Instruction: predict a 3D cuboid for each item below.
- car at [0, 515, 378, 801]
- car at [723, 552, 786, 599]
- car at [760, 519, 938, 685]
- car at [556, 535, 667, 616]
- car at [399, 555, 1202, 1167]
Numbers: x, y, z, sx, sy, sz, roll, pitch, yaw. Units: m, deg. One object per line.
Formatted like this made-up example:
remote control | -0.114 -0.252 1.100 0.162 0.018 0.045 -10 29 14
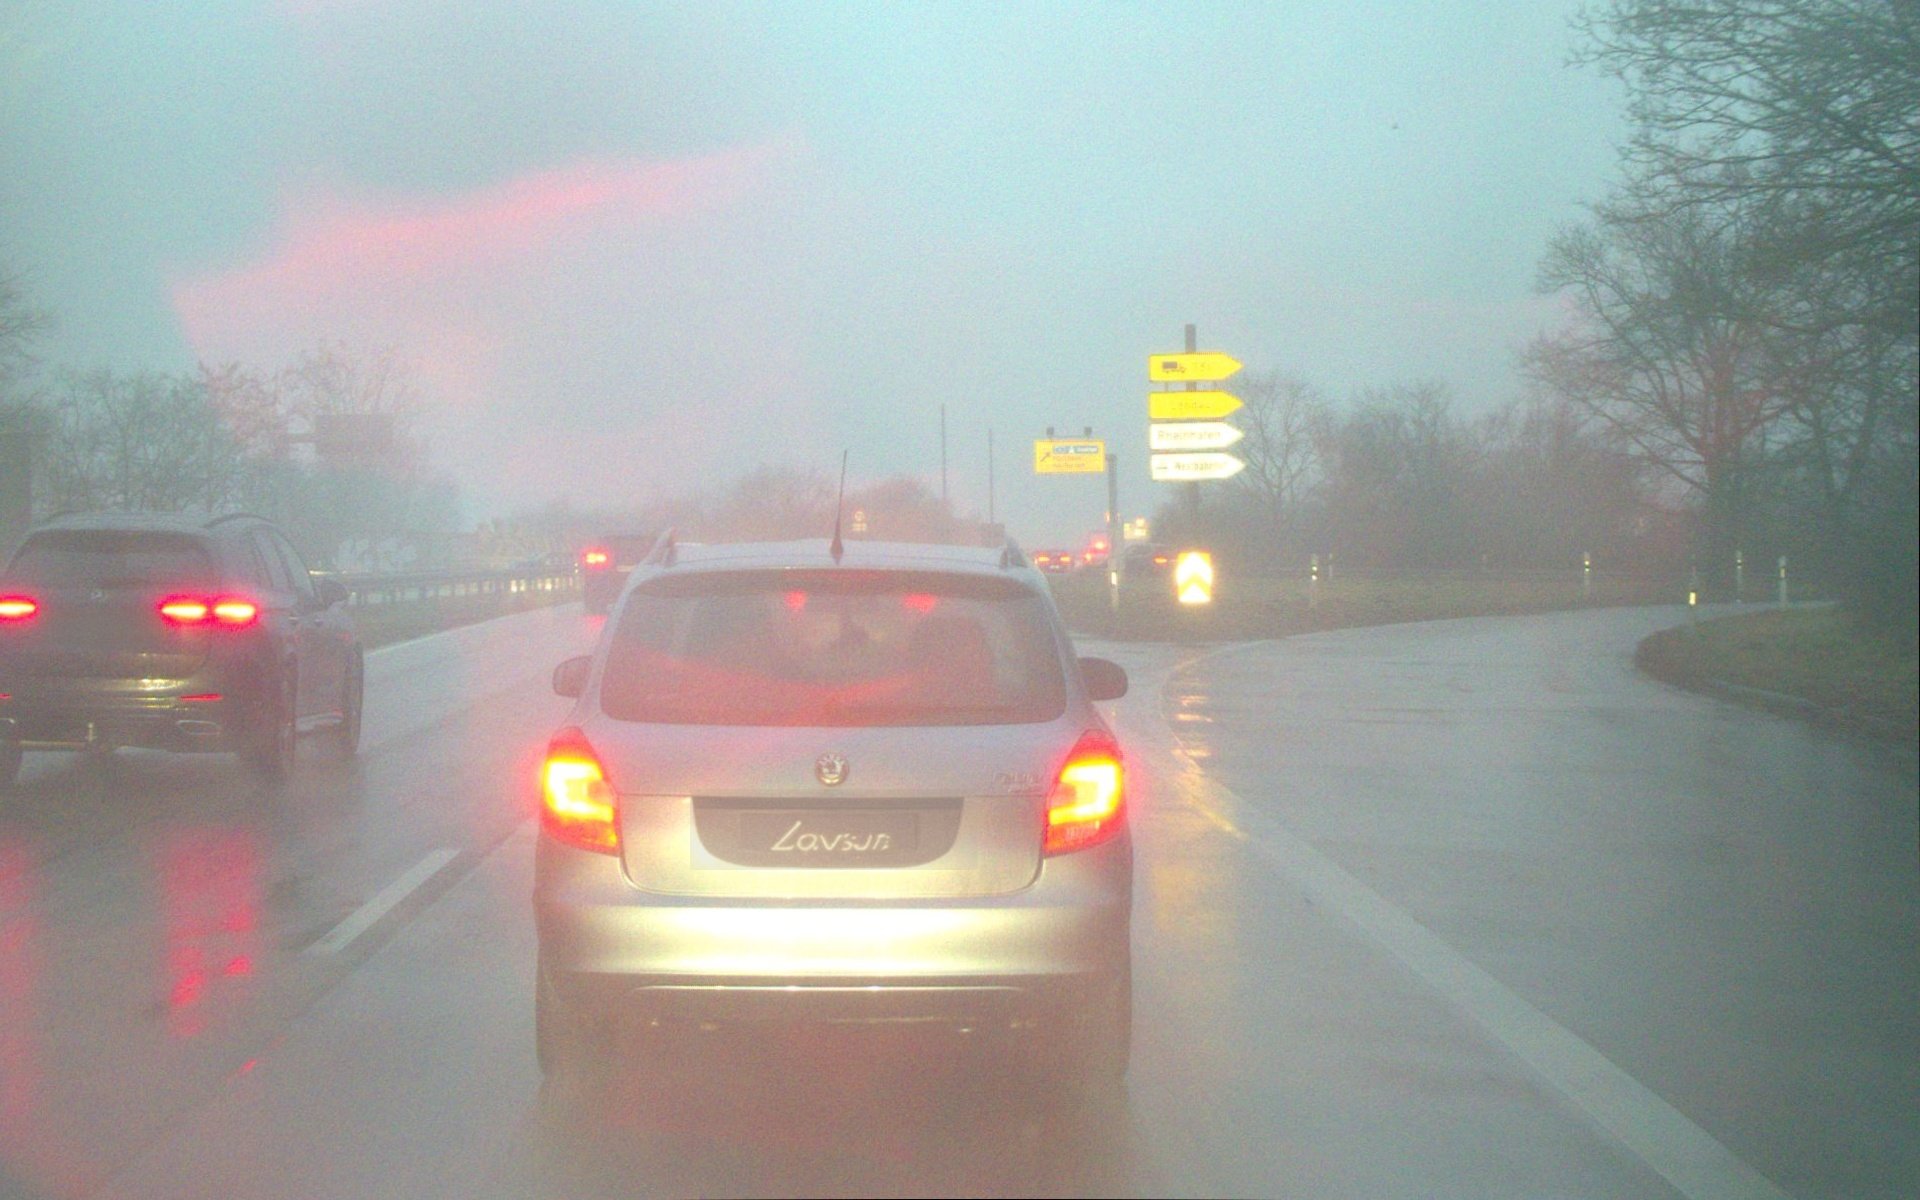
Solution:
car | -4.924 0.288 21.319 1.993 1.596 4.309 0 1 -1
car | -6.889 -0.840 115.558 1.789 1.478 4.000 -2 1 0
car | -1.266 -0.030 39.700 1.897 1.761 4.309 -2 1 -1
car | -7.026 -0.519 69.661 1.789 1.540 4.000 -1 1 0
car | -0.394 0.640 10.787 1.993 1.495 4.138 -2 1 0
